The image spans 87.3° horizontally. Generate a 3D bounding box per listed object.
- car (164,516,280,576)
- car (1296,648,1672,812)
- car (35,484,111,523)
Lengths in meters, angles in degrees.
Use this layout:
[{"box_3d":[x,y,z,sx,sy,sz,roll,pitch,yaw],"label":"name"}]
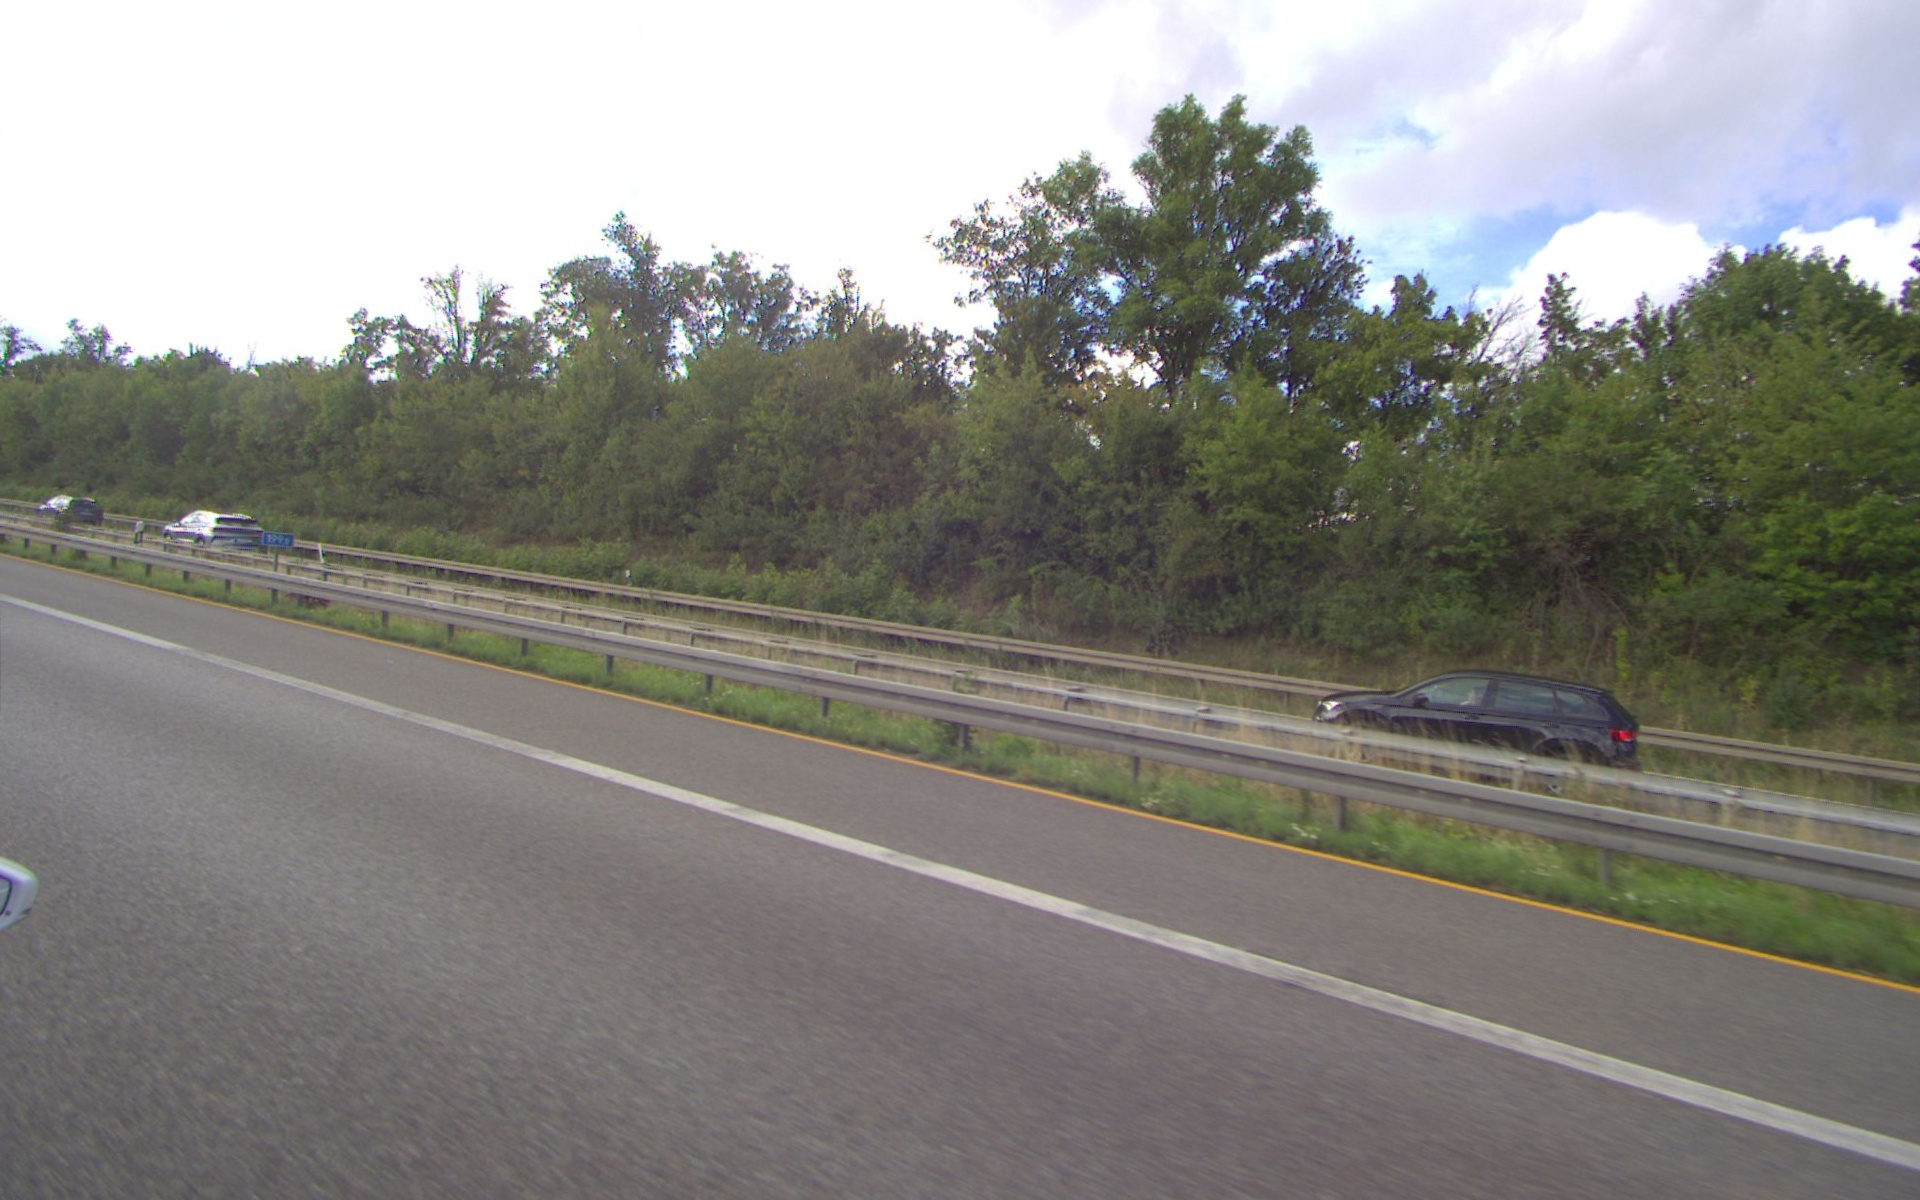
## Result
[{"box_3d":[-26.554,-1.941,36.163,4.234,1.672,1.847,7,2,32],"label":"car"},{"box_3d":[7.436,1.726,14.586,4.451,1.504,1.844,7,2,32],"label":"car"},{"box_3d":[-46.466,-5.049,52.678,4.233,1.566,1.730,7,2,30],"label":"car"}]
